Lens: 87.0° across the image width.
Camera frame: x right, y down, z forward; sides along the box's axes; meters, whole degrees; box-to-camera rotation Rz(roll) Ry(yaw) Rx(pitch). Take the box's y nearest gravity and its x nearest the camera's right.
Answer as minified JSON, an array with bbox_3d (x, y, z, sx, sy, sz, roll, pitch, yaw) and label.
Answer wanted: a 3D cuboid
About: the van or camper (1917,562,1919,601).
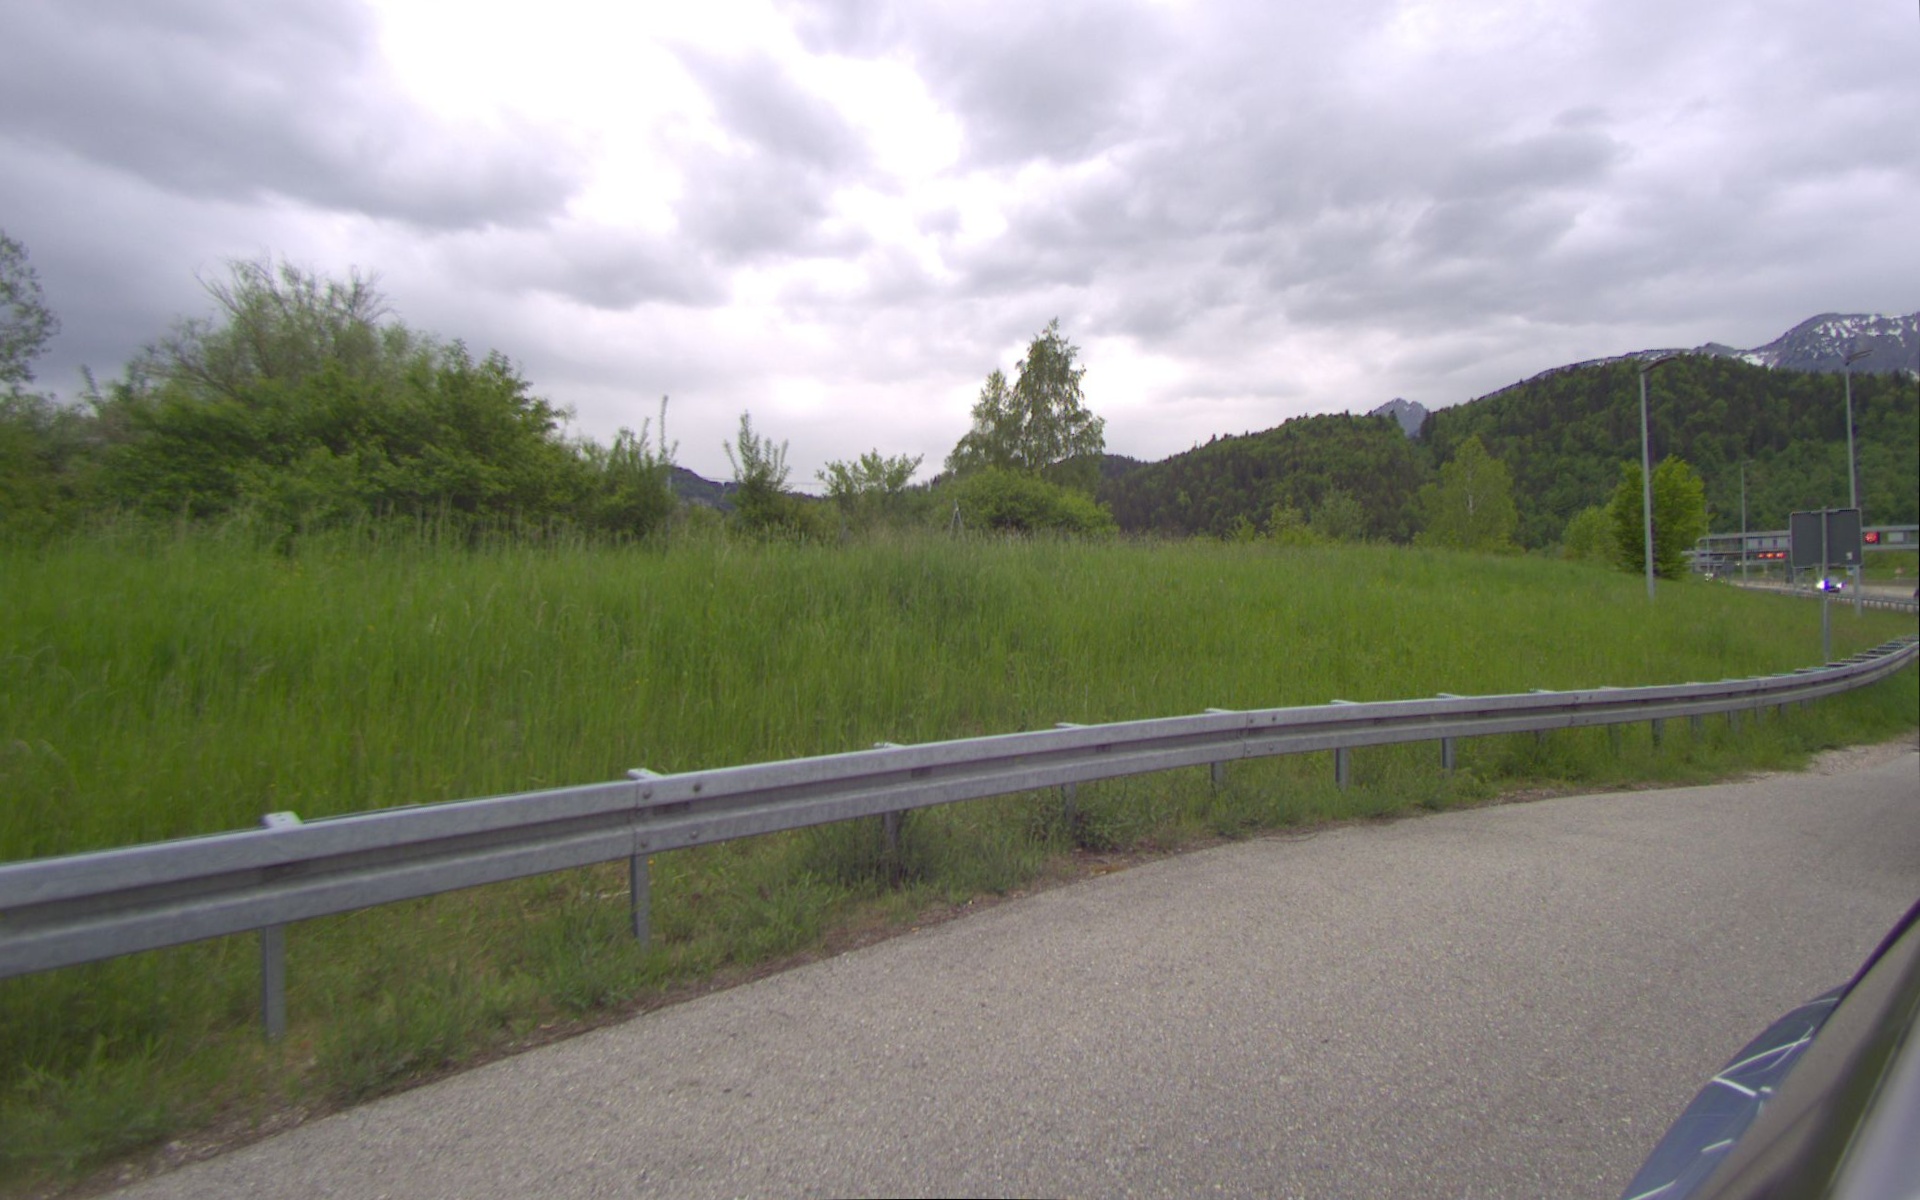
[{"bbox_3d":[65.715,-1.162,66.085,3.321,2.677,8.102,1,2,34],"label":"van or camper"}]

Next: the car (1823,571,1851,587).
[{"bbox_3d":[90.810,-2.171,104.854,1.710,1.659,4.295,1,2,35],"label":"car"}]
